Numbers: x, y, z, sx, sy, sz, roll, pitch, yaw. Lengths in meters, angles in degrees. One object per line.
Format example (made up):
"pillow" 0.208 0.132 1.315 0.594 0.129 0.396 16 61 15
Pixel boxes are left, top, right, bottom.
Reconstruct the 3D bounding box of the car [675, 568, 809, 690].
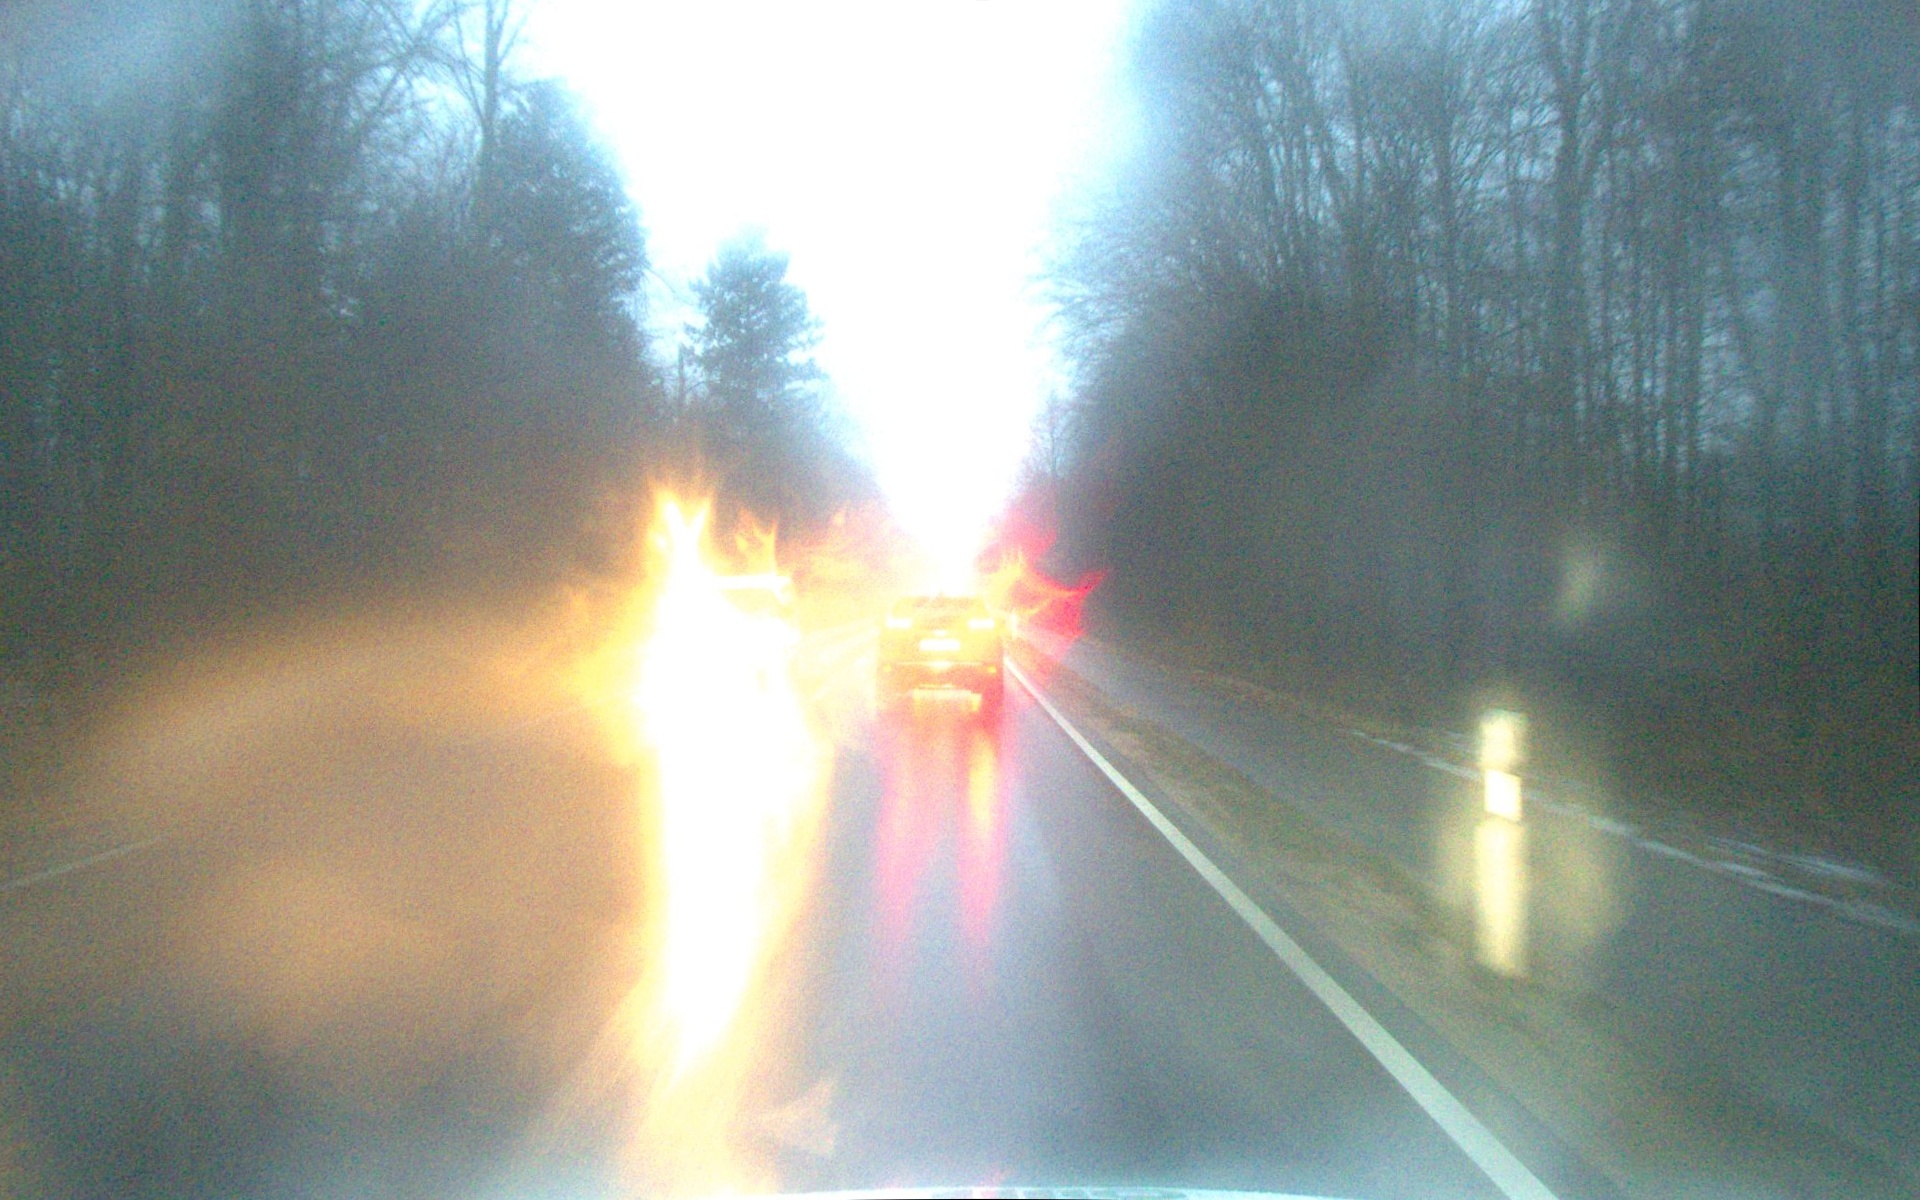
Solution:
"car" -3.695 0.461 28.721 1.760 1.914 4.424 -2 0 -1

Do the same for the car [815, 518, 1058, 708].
"car" -0.319 0.156 24.816 3.118 2.428 6.636 1 0 0
